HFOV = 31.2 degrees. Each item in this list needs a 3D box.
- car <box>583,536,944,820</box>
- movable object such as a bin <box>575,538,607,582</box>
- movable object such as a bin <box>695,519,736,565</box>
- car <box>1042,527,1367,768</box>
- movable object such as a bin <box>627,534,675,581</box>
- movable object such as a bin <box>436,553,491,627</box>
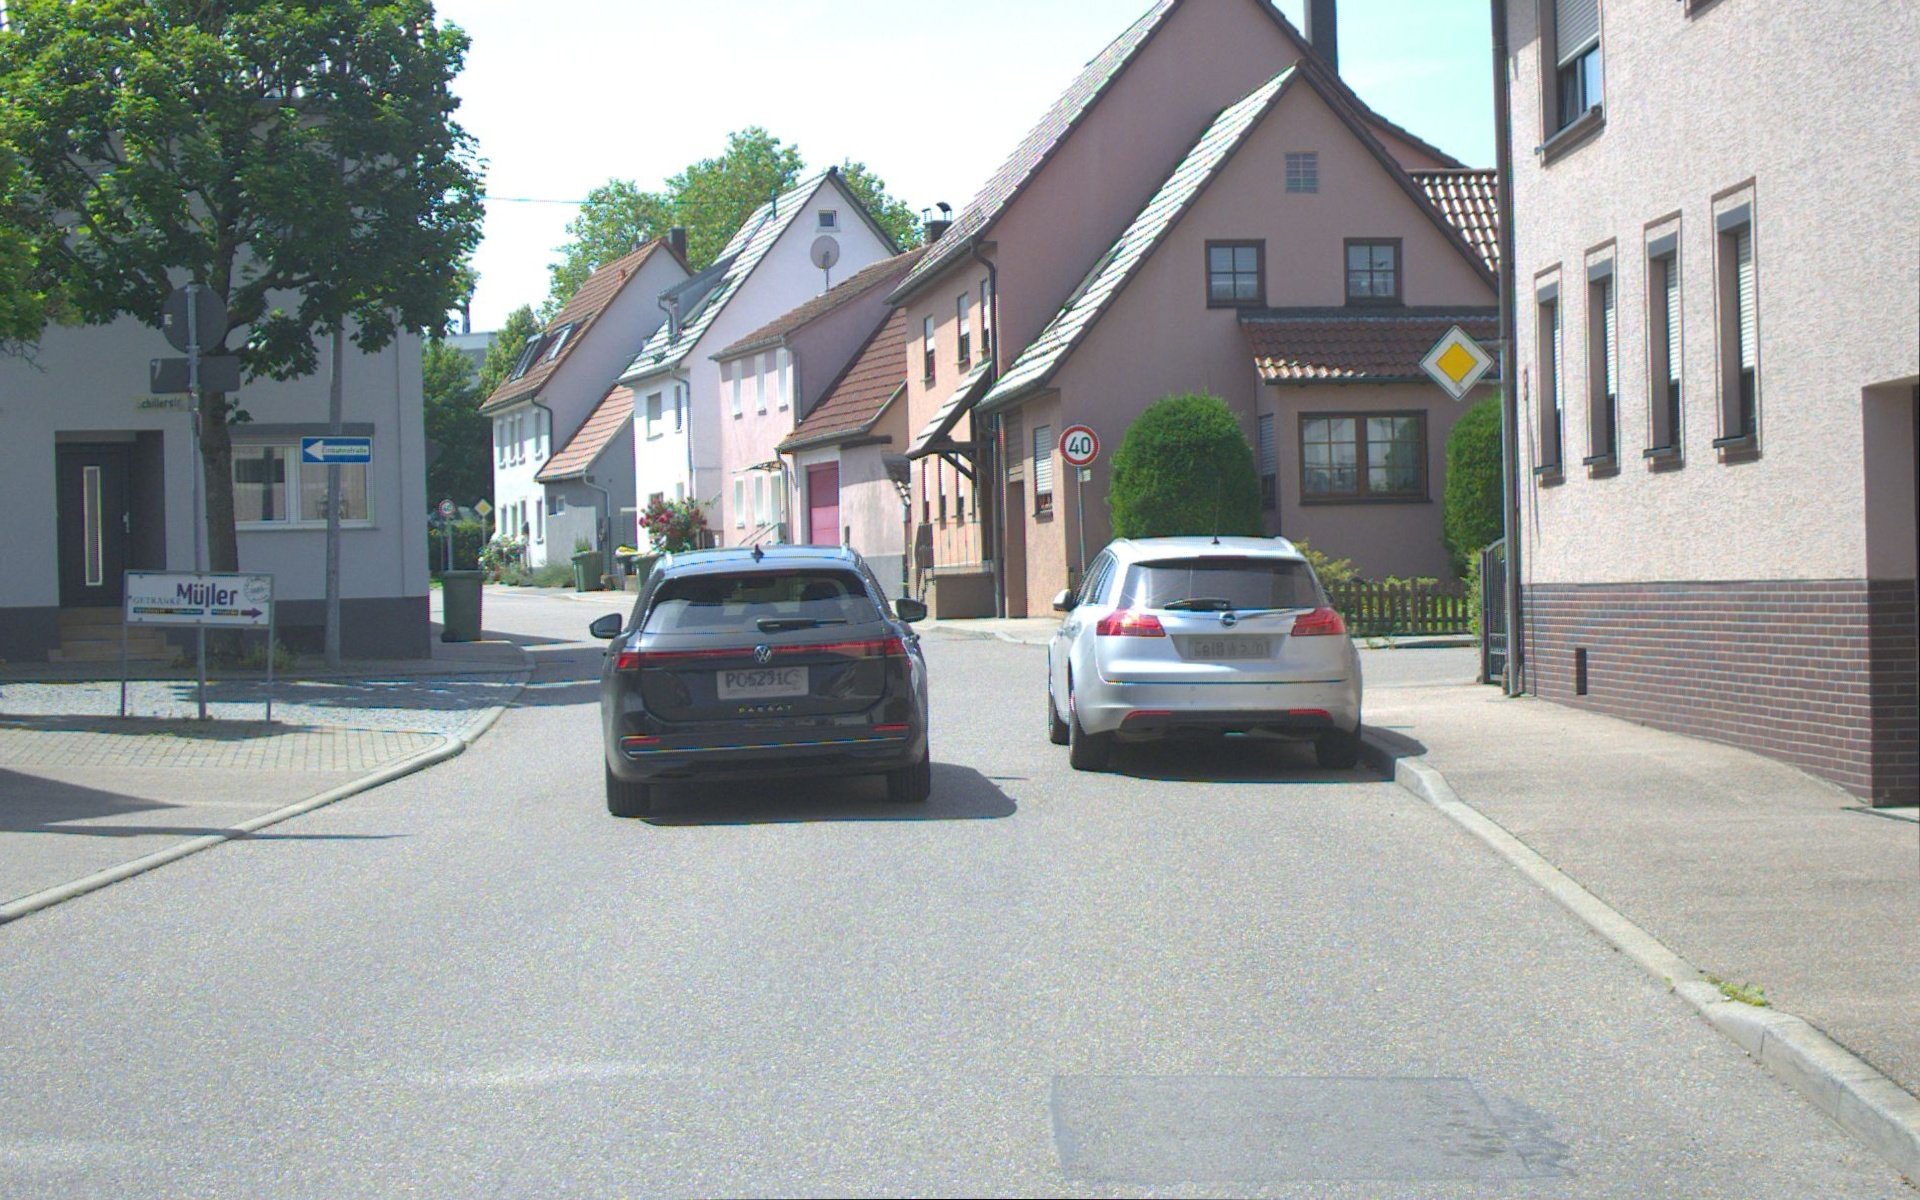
[{"bbox_3d":[-1.240,0.359,20.210,1.841,1.415,4.683,-1,1,-5],"label":"car"},{"bbox_3d":[-9.859,-1.072,91.903,0.678,1.151,0.820,0,1,-21],"label":"movable object such as a bin"},{"bbox_3d":[-5.848,-1.384,82.158,0.678,1.046,0.835,-5,3,-20],"label":"movable object such as a bin"},{"bbox_3d":[1.524,0.238,22.848,1.785,1.437,4.337,0,1,-1],"label":"car"},{"bbox_3d":[-7.467,-1.028,83.001,0.875,1.071,0.873,-5,3,-20],"label":"movable object such as a bin"},{"bbox_3d":[-7.195,-0.153,49.825,0.753,1.056,0.680,0,1,-10],"label":"movable object such as a bin"}]
